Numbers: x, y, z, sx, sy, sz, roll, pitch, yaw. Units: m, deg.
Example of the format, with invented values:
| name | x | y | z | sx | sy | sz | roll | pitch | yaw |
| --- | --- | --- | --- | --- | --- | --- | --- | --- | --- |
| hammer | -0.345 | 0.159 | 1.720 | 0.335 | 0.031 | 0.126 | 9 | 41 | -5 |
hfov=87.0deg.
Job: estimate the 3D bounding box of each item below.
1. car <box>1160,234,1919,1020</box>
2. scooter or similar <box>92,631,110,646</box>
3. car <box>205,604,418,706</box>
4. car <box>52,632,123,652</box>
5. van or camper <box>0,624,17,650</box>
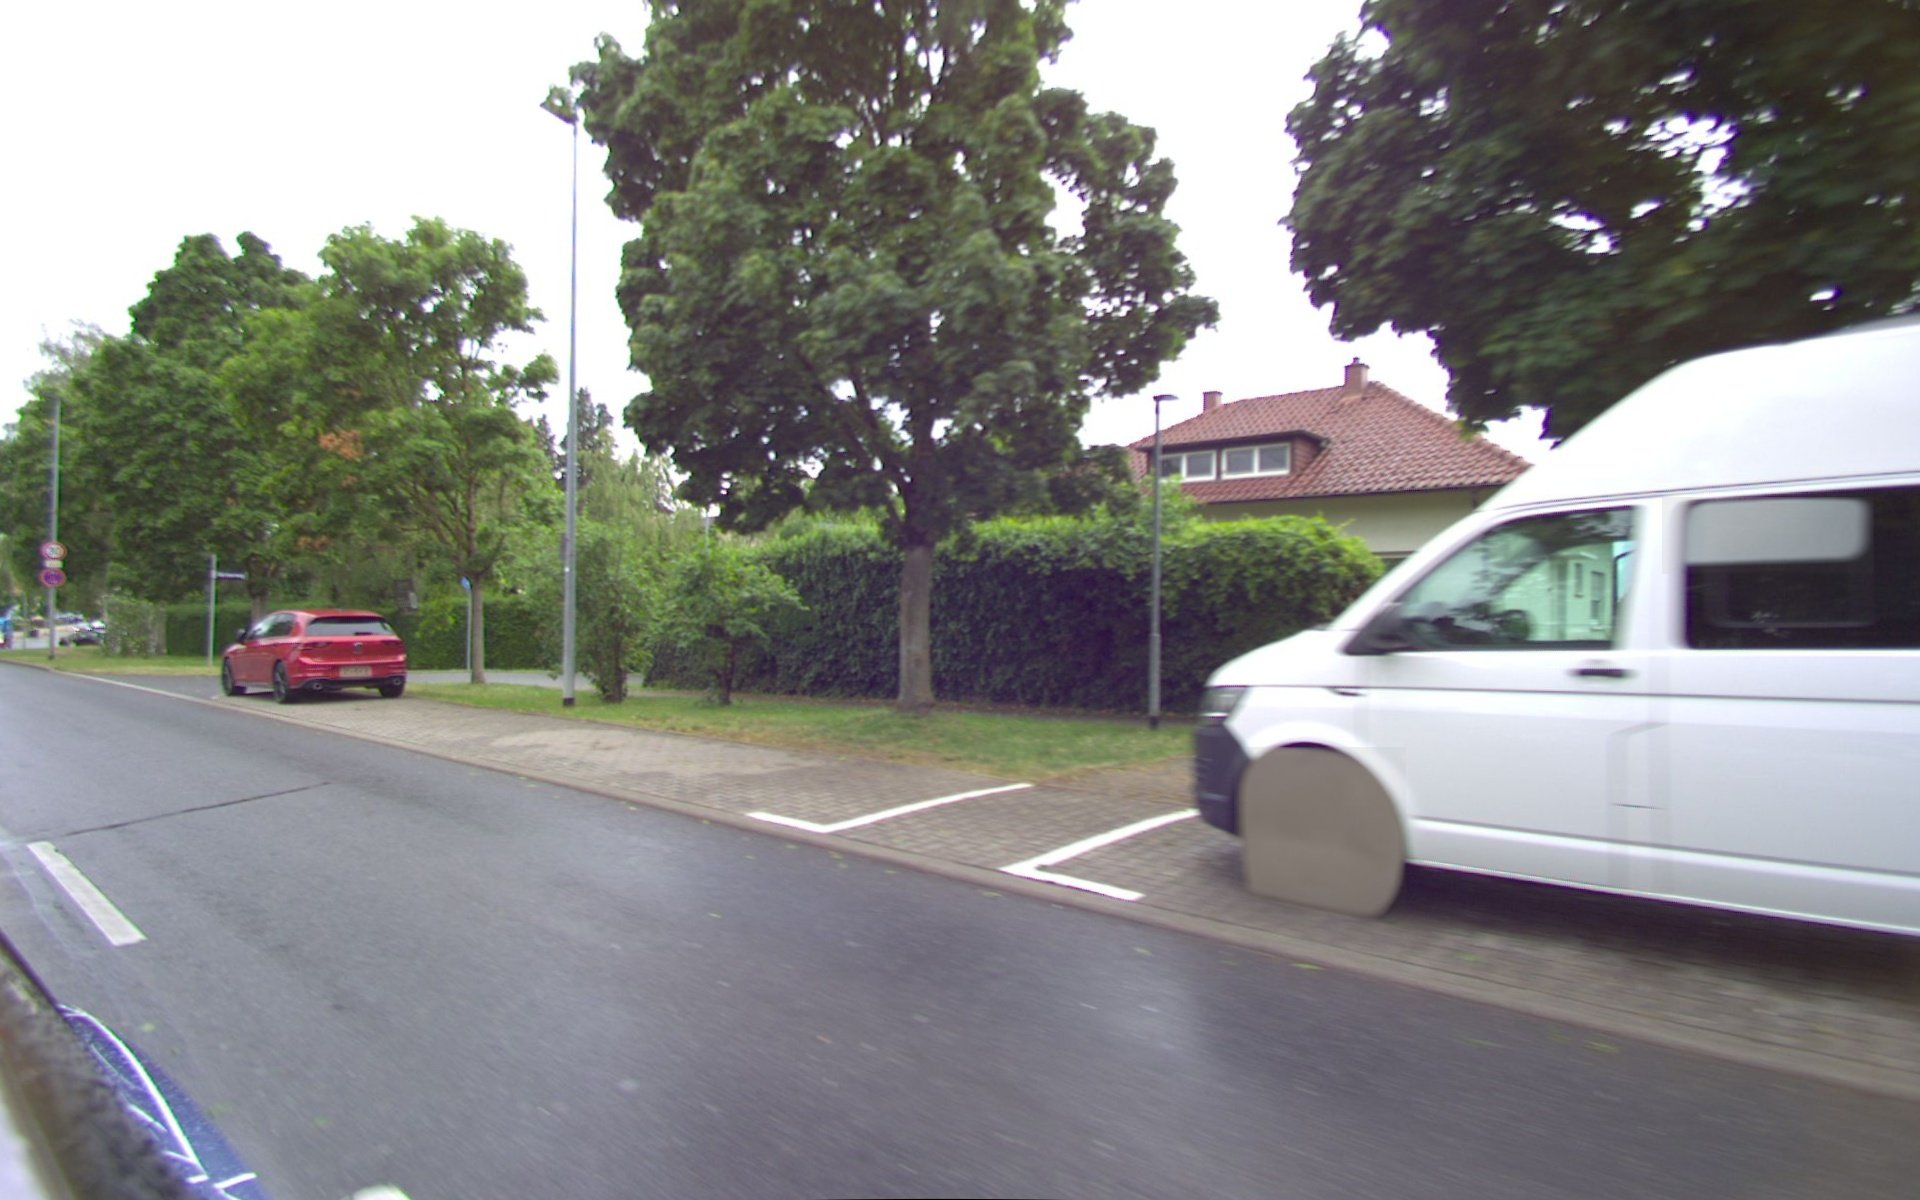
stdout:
| name | x | y | z | sx | sy | sz | roll | pitch | yaw |
| --- | --- | --- | --- | --- | --- | --- | --- | --- | --- |
| car | 3.635 | 0.098 | 4.210 | 5.229 | 2.580 | 1.973 | -1 | -2 | 41 |
| scooter or similar | -67.758 | 3.056 | 79.851 | 0.418 | 1.167 | 1.494 | -2 | -1 | -14 |
| car | -10.822 | 0.842 | 16.769 | 4.246 | 1.477 | 1.824 | -1 | -1 | 40 |
| car | -75.561 | 3.620 | 87.708 | 4.368 | 1.428 | 1.760 | -4 | 1 | -34 |
| van or camper | -100.678 | 3.829 | 105.669 | 2.114 | 2.628 | 5.798 | 2 | -2 | -32 |
